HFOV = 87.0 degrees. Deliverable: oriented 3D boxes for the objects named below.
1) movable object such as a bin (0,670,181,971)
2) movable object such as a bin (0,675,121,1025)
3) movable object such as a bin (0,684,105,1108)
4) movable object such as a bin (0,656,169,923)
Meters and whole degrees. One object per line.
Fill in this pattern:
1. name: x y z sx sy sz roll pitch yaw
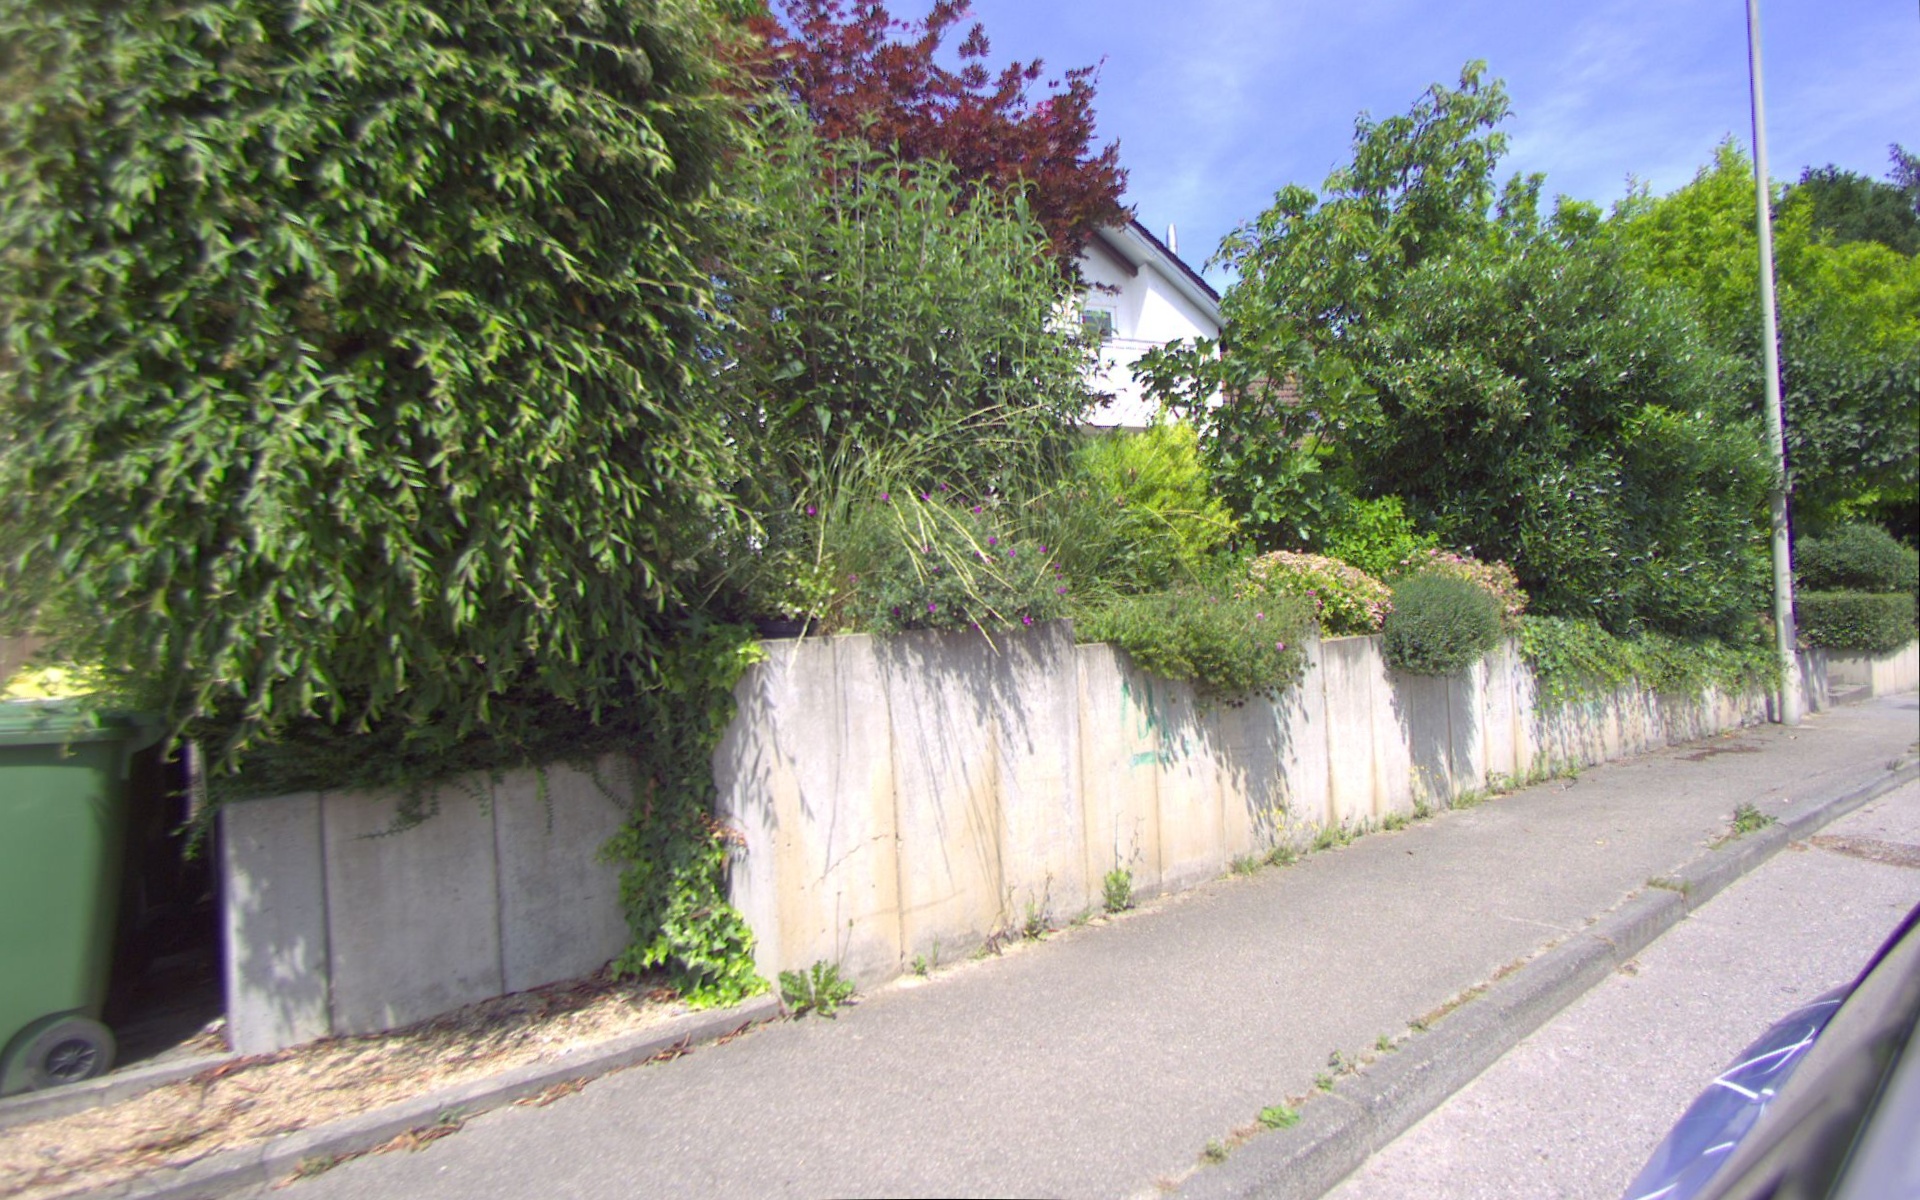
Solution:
1. movable object such as a bin: -3.454 0.827 4.001 0.553 1.034 0.486 0 1 -34
2. movable object such as a bin: -3.240 0.822 3.434 0.553 1.084 0.486 0 -2 -34
3. movable object such as a bin: -2.827 0.831 2.916 0.554 1.121 0.485 0 -2 -41
4. movable object such as a bin: -3.851 0.791 4.441 0.553 1.034 0.486 0 1 -34
